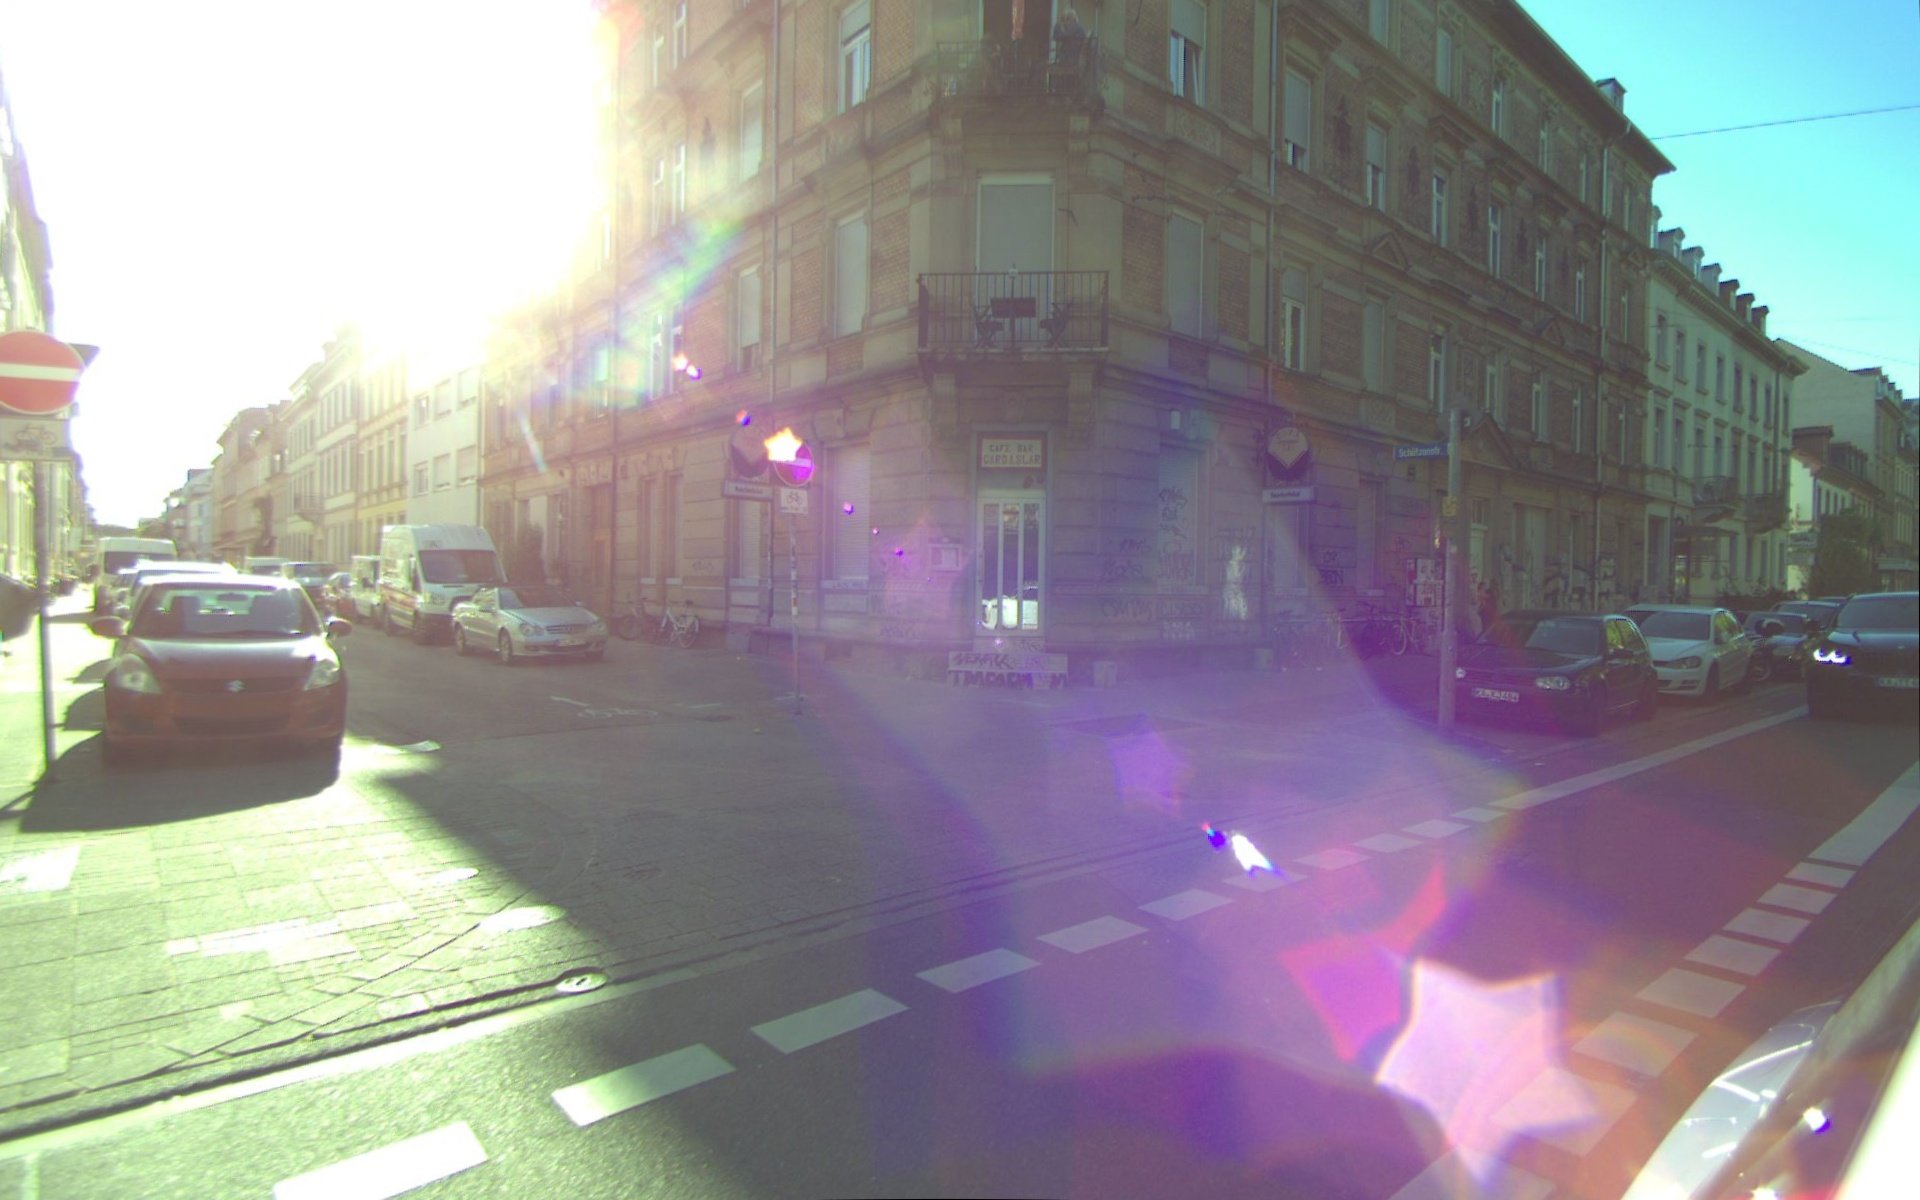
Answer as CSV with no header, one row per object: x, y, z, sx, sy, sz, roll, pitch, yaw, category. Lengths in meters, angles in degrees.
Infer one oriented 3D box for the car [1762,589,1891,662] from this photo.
20.047,0.528,23.380,3.674,1.469,1.610,-1,3,-39,car

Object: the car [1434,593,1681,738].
7.680,0.687,12.843,3.993,1.438,1.651,-1,4,-44,car

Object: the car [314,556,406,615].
-19.836,-0.493,33.389,1.965,1.816,3.830,0,1,-41,car

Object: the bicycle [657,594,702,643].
-5.938,0.378,21.355,0.372,0.973,1.371,0,1,-40,bicycle

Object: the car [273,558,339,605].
-26.781,-0.780,41.393,1.688,1.816,4.192,0,1,-41,car

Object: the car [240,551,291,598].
-35.338,-1.293,51.456,1.688,2.299,4.192,0,1,-41,car

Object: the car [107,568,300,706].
-9.845,0.345,13.109,1.758,1.473,4.034,0,2,-39,car

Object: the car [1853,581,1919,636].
30.037,0.236,32.373,3.840,1.523,1.635,-1,6,-41,car

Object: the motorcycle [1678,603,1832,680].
14.579,0.736,18.635,2.121,1.305,0.637,1,1,28,motorcycle

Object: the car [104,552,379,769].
-6.767,0.416,9.447,1.758,1.594,3.659,1,1,-39,car

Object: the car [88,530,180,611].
-27.155,-0.976,33.196,2.111,2.428,5.641,0,1,-41,car

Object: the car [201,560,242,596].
-45.297,-1.357,62.027,1.688,2.078,4.192,0,1,-41,car

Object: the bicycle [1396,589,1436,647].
9.535,0.361,21.151,1.118,1.168,0.274,0,1,-39,bicycle

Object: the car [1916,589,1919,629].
38.684,0.375,39.526,3.299,1.524,1.542,0,3,-40,car

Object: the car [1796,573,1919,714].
13.337,0.560,13.948,4.546,1.726,1.948,1,-1,-39,car

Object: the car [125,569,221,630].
-19.980,-0.063,25.641,1.634,1.424,4.143,-1,1,-42,car

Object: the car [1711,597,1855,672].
16.829,0.637,20.637,3.660,1.288,1.652,-1,4,-41,car

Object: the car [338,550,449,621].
-16.318,-0.442,29.041,1.745,1.889,4.670,0,1,-42,car

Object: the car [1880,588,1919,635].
34.828,0.417,36.561,3.838,1.523,1.730,0,6,-40,car

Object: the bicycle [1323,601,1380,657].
7.418,0.537,19.169,1.348,1.013,0.379,0,1,-39,bicycle

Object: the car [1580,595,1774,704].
11.609,0.689,16.294,3.943,1.438,1.606,-1,4,-41,car

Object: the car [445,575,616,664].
-8.075,0.275,18.858,1.673,1.394,3.992,-3,4,-42,car

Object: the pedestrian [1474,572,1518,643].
12.979,0.172,24.492,0.753,1.677,0.716,0,1,-41,pedestrian

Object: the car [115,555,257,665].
-13.352,0.095,17.404,1.758,1.657,4.256,0,1,-39,car

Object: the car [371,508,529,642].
-12.232,-0.605,24.058,2.201,2.810,5.539,0,1,-39,car

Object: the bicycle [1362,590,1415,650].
8.602,0.388,20.282,1.348,1.168,0.379,0,1,-39,bicycle

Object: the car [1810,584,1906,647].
24.286,0.374,27.349,2.771,1.561,1.514,-1,3,-41,car
